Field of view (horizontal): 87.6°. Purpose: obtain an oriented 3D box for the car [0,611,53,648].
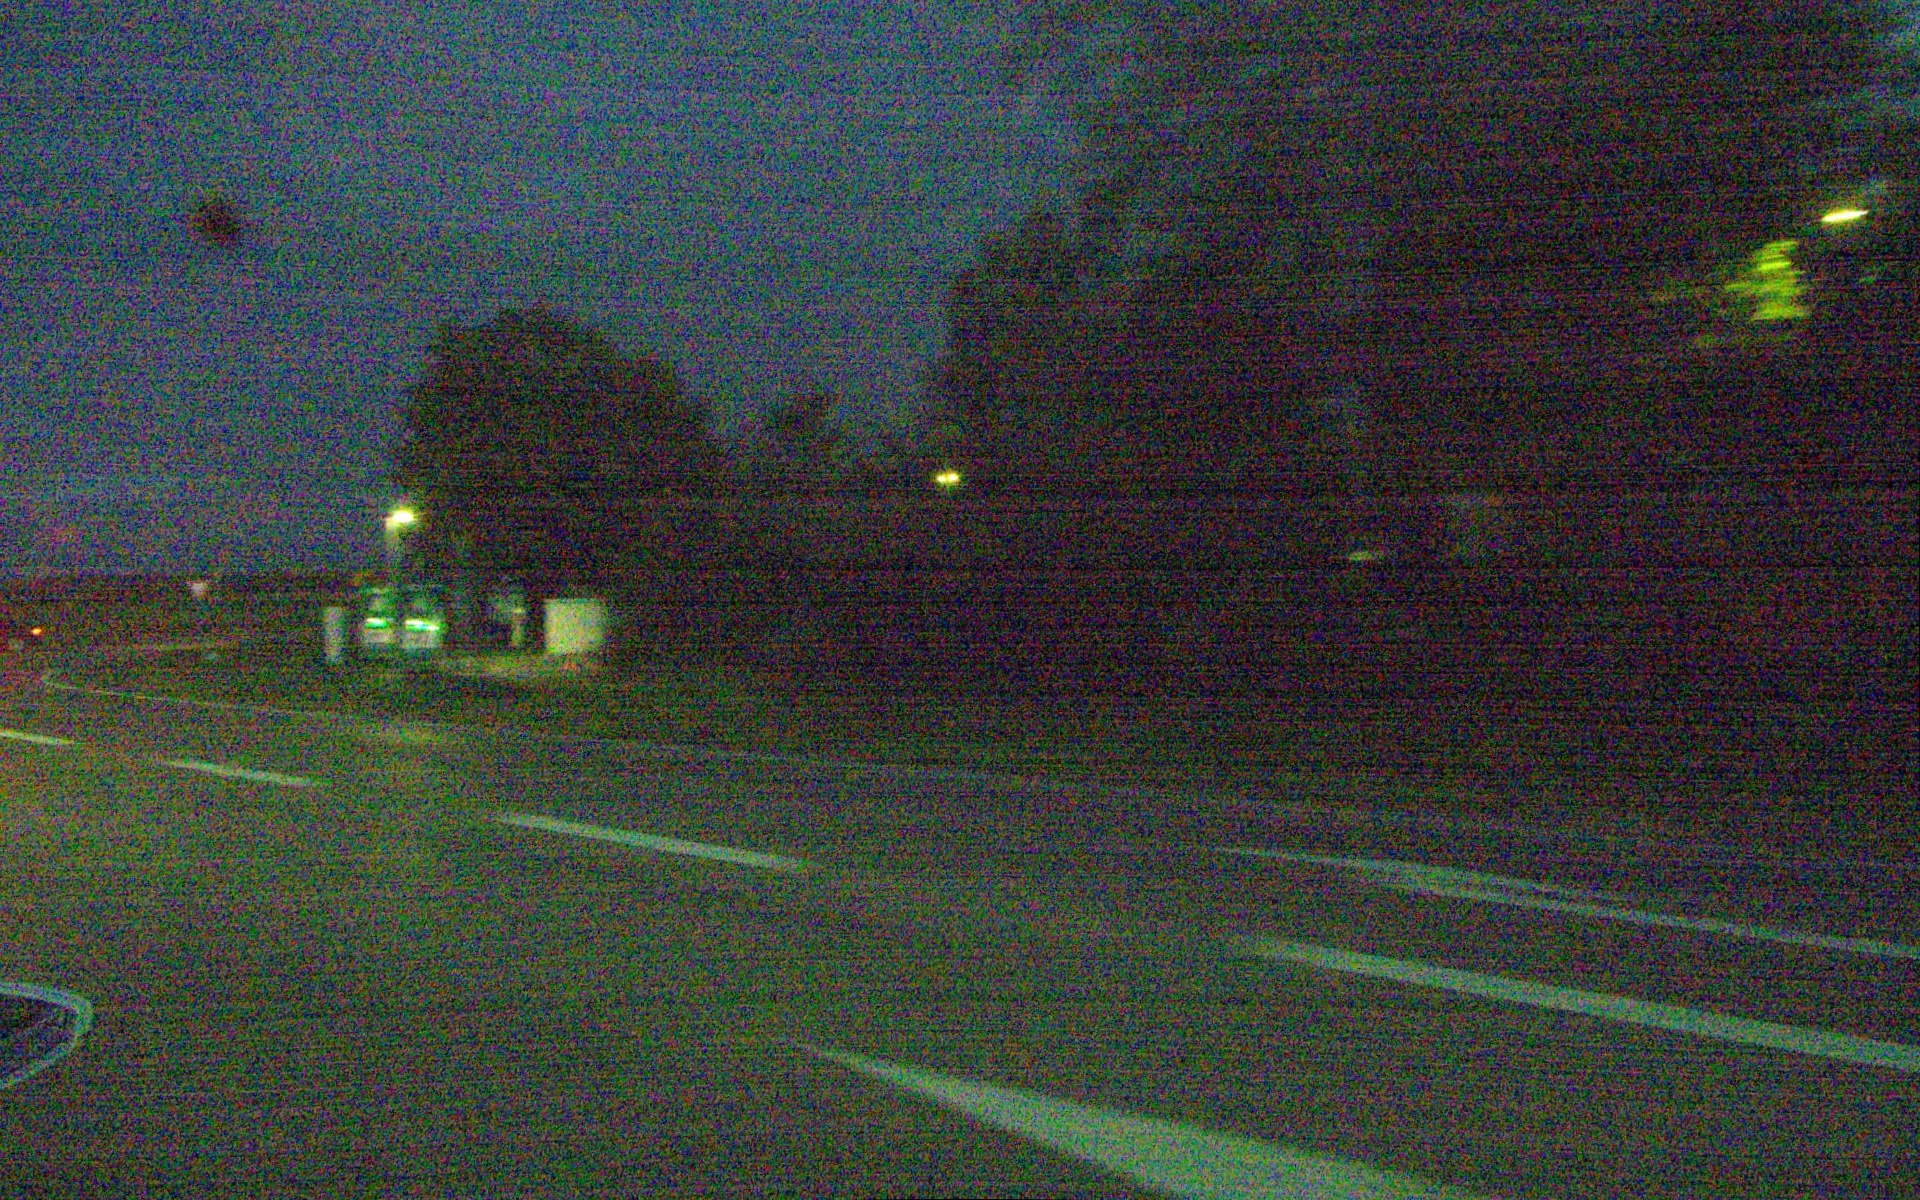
[{"bbox_3d":[-42.991,1.327,43.768,1.971,1.541,4.590,0,1,32],"label":"car"}]
